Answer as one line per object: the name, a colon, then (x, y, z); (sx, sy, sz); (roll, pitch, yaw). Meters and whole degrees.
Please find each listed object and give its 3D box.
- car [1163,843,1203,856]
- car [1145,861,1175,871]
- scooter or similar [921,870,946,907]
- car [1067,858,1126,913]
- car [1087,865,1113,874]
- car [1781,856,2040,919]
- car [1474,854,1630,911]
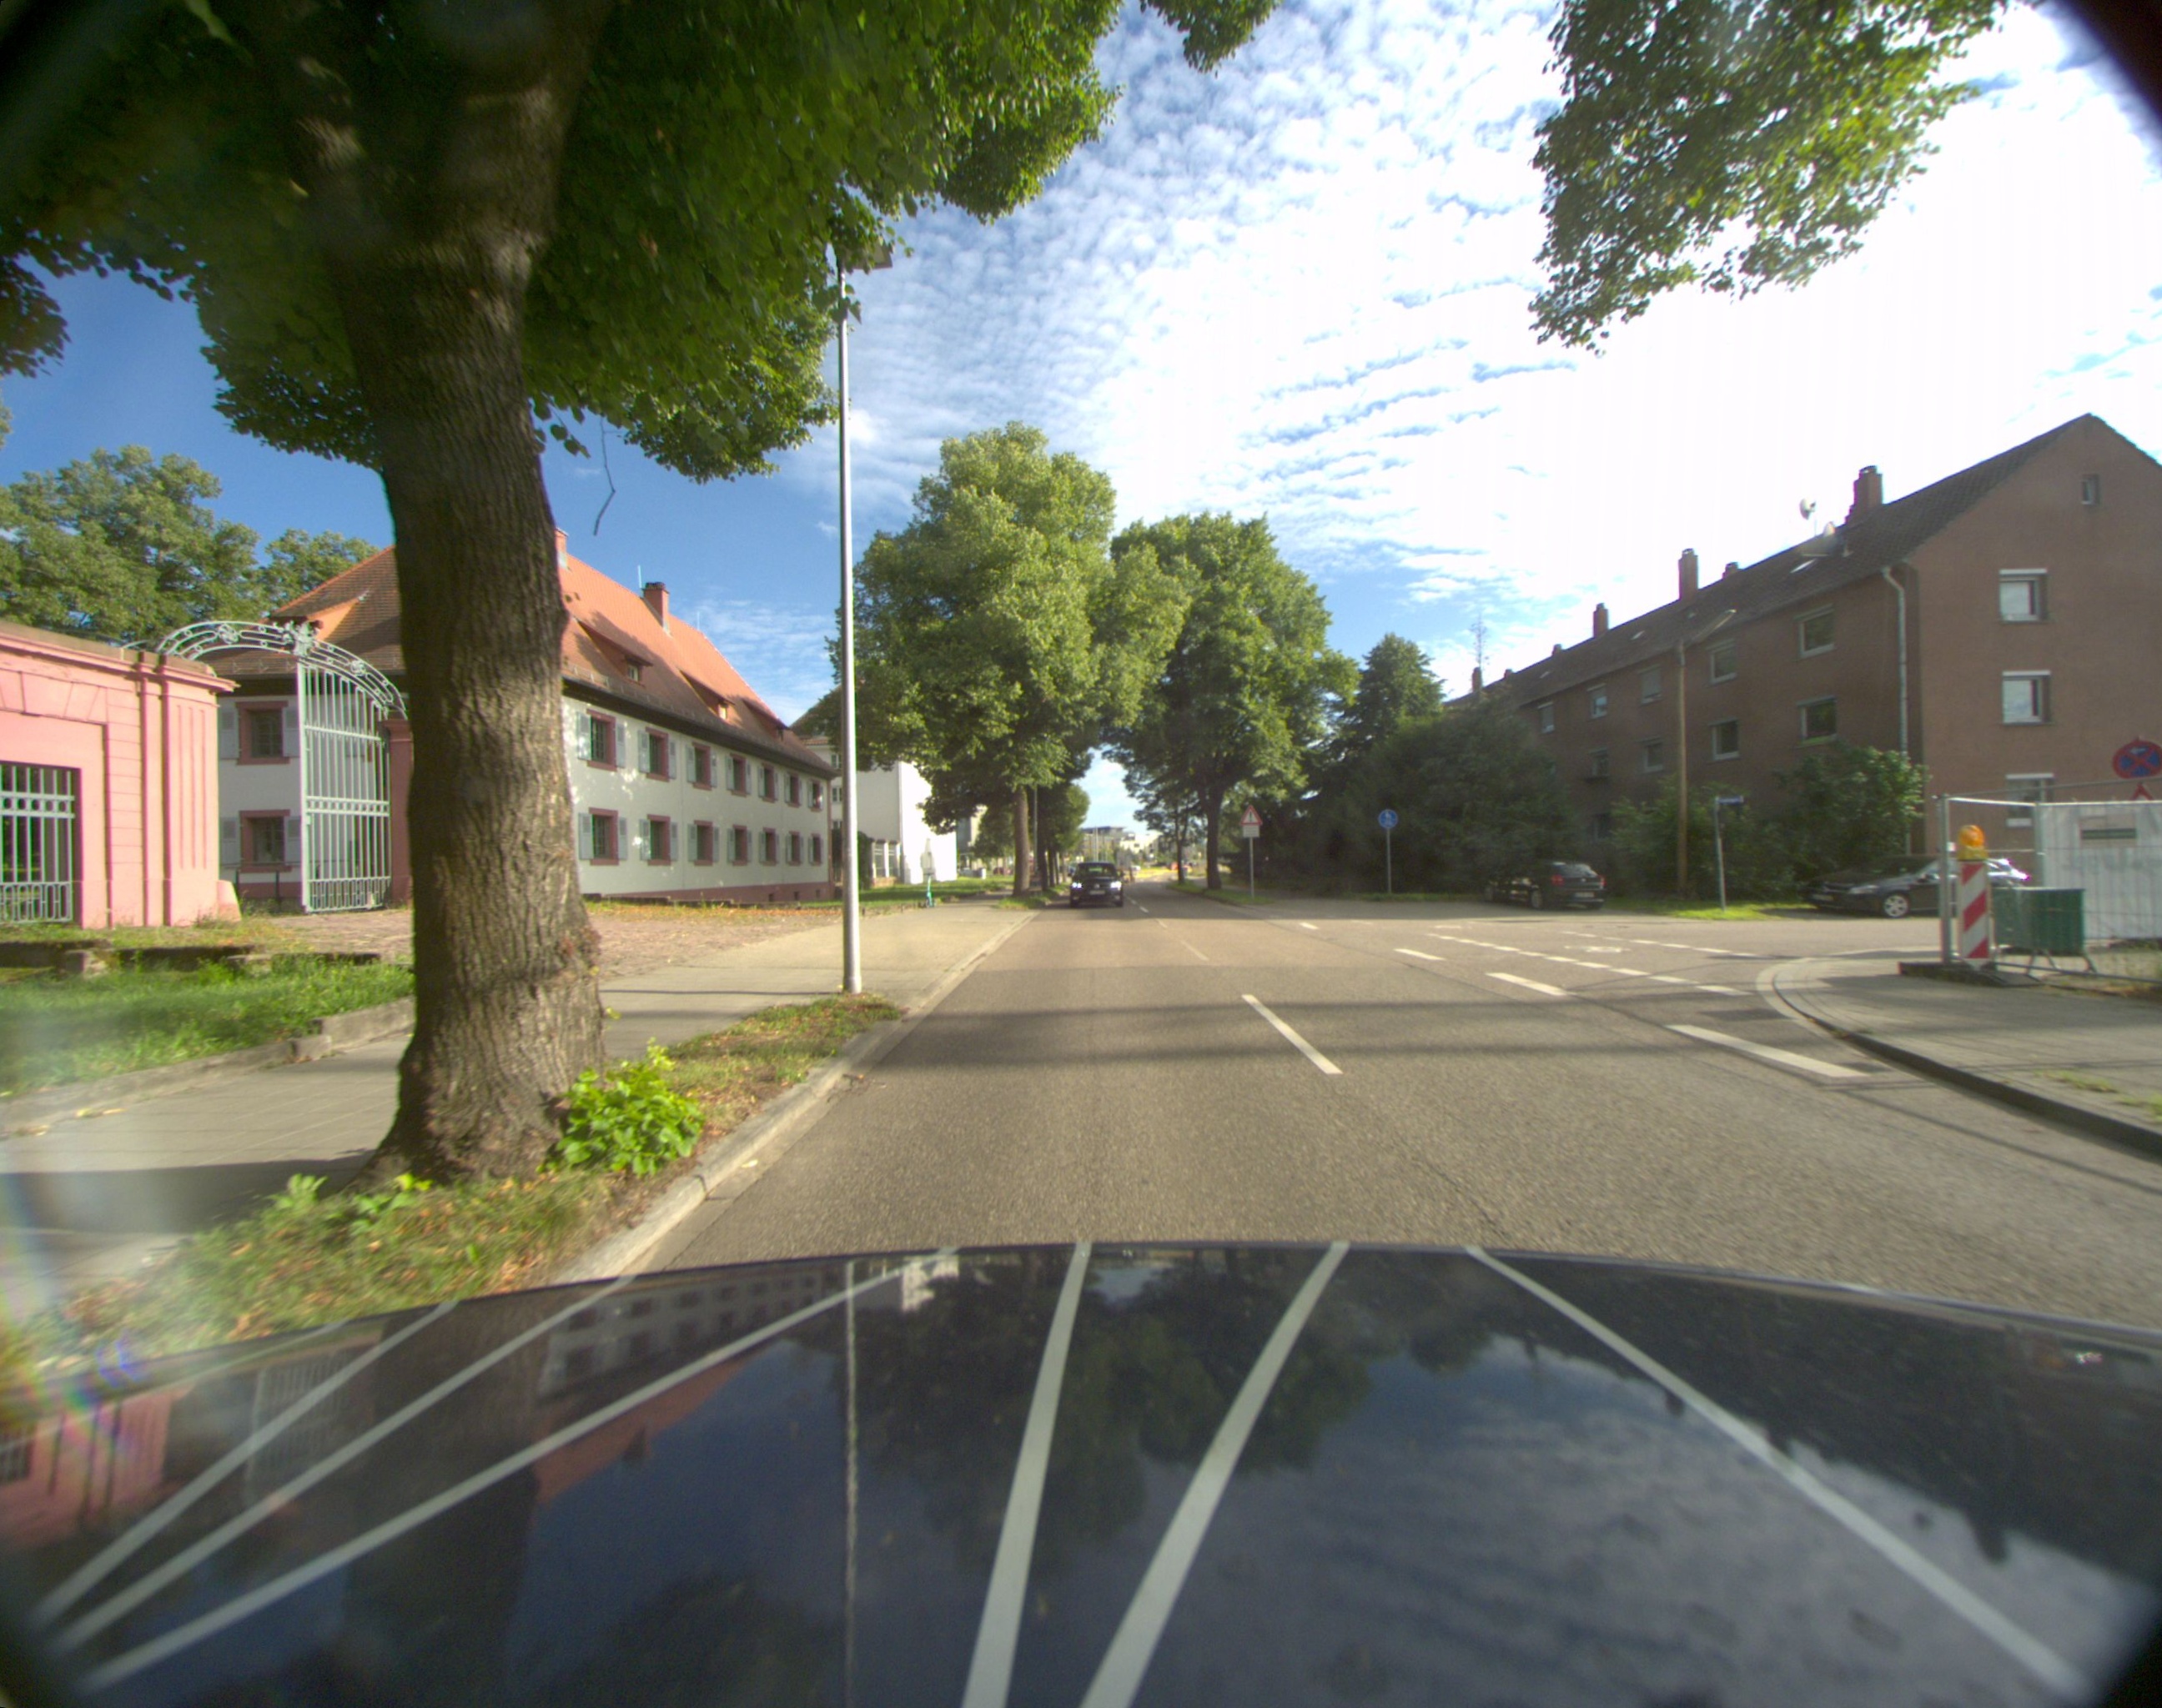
car: (16.333, -0.686, 121.880); (2.483, 1.855, 6.236); (-1, -1, -43)
car: (14.331, 2.161, 138.240); (4.870, 1.515, 2.303); (-3, 0, -13)
scooter or similar: (-5.268, 1.217, 27.196); (0.580, 1.284, 1.382); (0, 0, 2)
car: (0.585, 1.032, 26.322); (1.821, 1.648, 4.244); (-3, -1, 2)
car: (3.336, 2.667, 134.169); (4.261, 1.477, 1.999); (-2, 0, -4)
car: (20.308, 0.790, 18.785); (3.996, 1.298, 1.999); (-1, 4, 3)
car: (13.689, 0.768, 22.472); (1.998, 1.420, 4.508); (-1, 1, 3)
